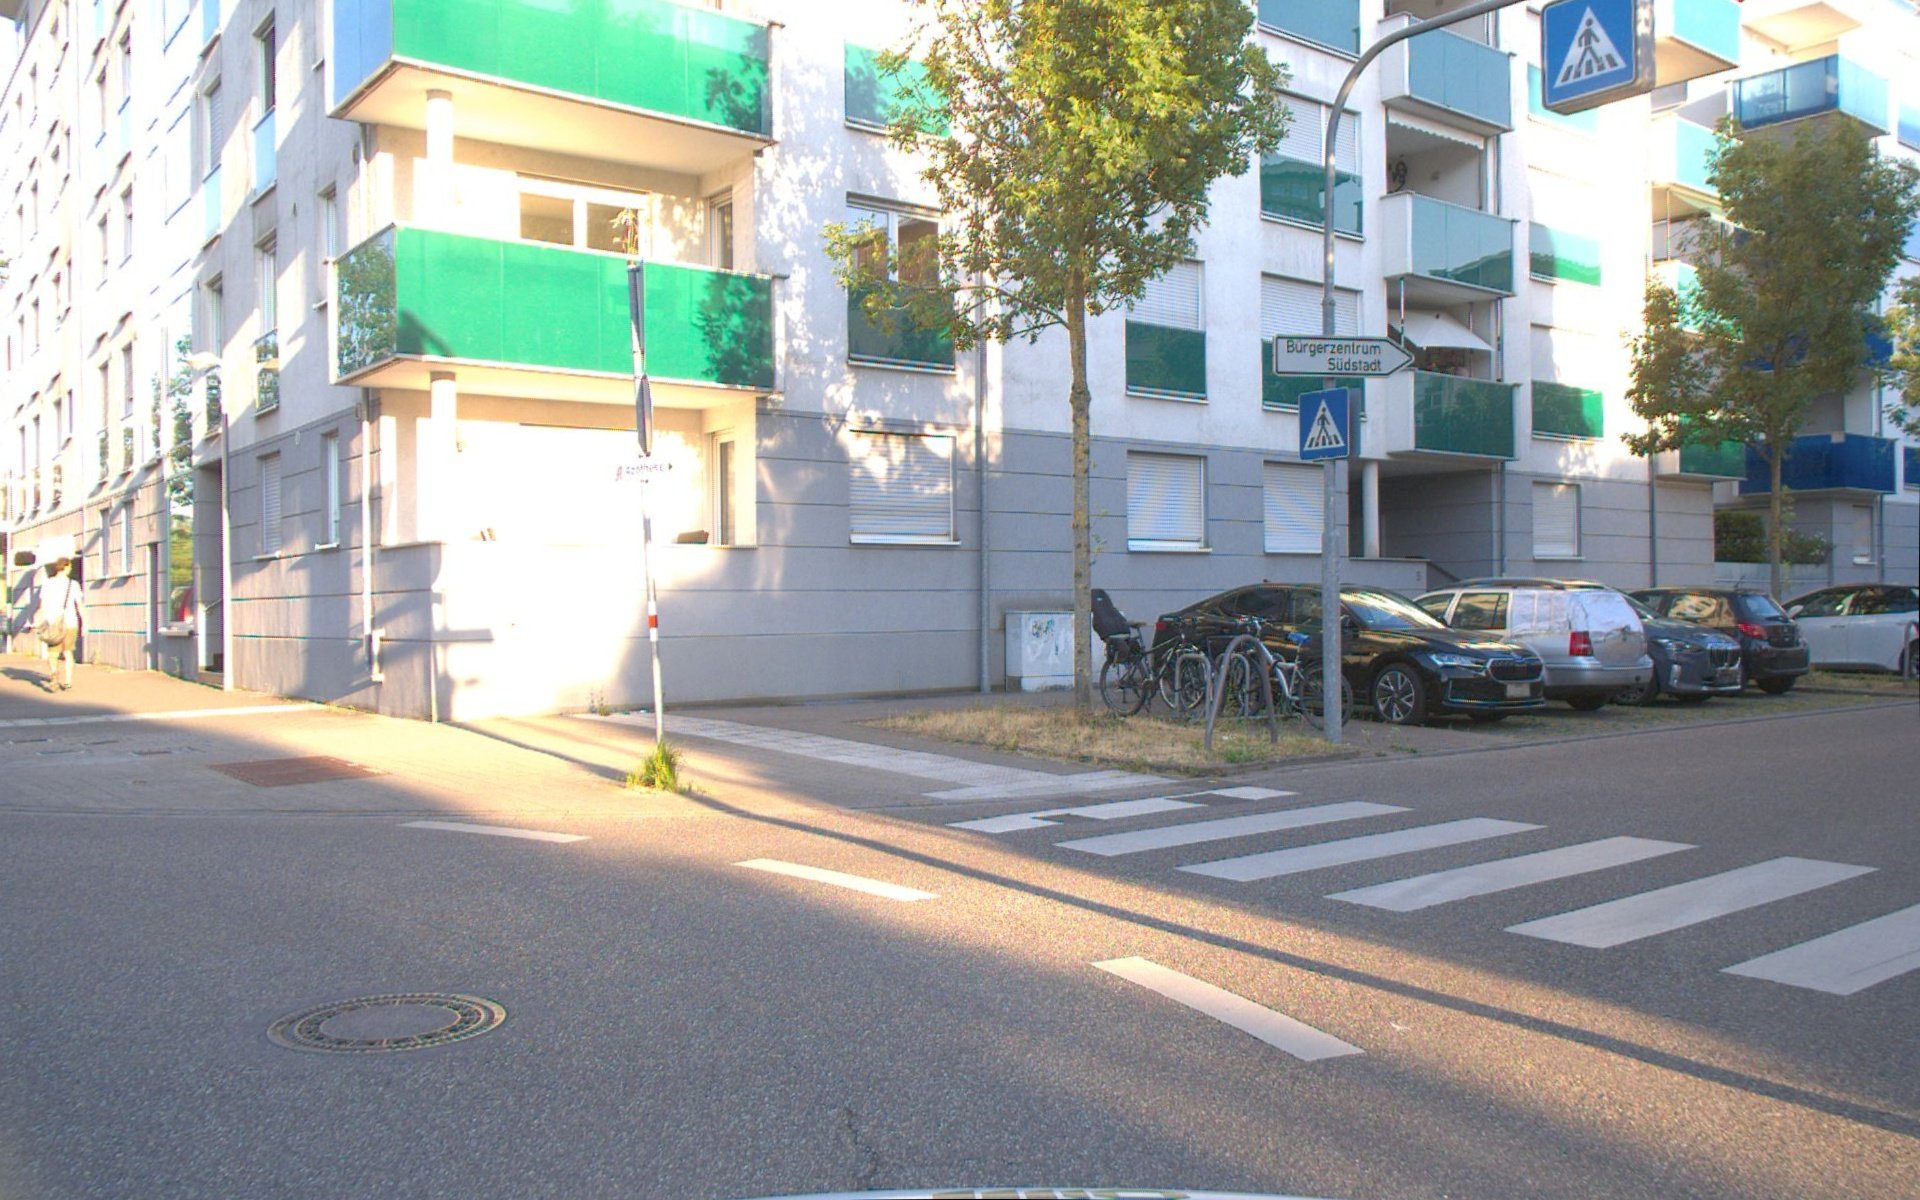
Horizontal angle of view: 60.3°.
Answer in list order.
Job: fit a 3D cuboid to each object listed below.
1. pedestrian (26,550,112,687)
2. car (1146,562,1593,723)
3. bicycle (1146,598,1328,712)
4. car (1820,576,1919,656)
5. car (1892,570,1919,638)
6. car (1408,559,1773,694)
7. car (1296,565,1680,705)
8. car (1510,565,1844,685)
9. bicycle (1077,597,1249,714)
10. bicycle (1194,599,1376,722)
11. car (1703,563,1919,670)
[{"bbox_3d":[-12.885,0.261,23.904,0.969,1.927,1.036,0,-1,-36],"label":"pedestrian"},{"bbox_3d":[4.471,0.372,18.813,1.917,1.483,4.828,0,2,-37],"label":"car"},{"bbox_3d":[2.879,0.551,17.407,0.469,1.064,2.004,0,2,-43],"label":"bicycle"},{"bbox_3d":[18.001,0.314,30.058,1.710,1.368,3.860,-1,3,-43],"label":"car"},{"bbox_3d":[21.279,0.142,33.340,1.653,1.385,4.040,-1,3,-43],"label":"car"},{"bbox_3d":[8.263,0.274,21.991,1.726,1.519,4.236,0,2,-39],"label":"car"},{"bbox_3d":[6.345,0.410,20.337,1.723,1.534,4.360,0,-1,-36],"label":"car"},{"bbox_3d":[10.273,0.293,24.022,1.719,1.483,4.254,0,2,-30],"label":"car"},{"bbox_3d":[2.029,0.531,16.735,0.562,1.060,1.765,0,2,-43],"label":"bicycle"},{"bbox_3d":[3.178,0.567,16.330,0.469,1.090,1.811,0,2,-43],"label":"bicycle"},{"bbox_3d":[14.385,0.233,26.463,1.671,1.534,4.231,0,3,-42],"label":"car"}]
